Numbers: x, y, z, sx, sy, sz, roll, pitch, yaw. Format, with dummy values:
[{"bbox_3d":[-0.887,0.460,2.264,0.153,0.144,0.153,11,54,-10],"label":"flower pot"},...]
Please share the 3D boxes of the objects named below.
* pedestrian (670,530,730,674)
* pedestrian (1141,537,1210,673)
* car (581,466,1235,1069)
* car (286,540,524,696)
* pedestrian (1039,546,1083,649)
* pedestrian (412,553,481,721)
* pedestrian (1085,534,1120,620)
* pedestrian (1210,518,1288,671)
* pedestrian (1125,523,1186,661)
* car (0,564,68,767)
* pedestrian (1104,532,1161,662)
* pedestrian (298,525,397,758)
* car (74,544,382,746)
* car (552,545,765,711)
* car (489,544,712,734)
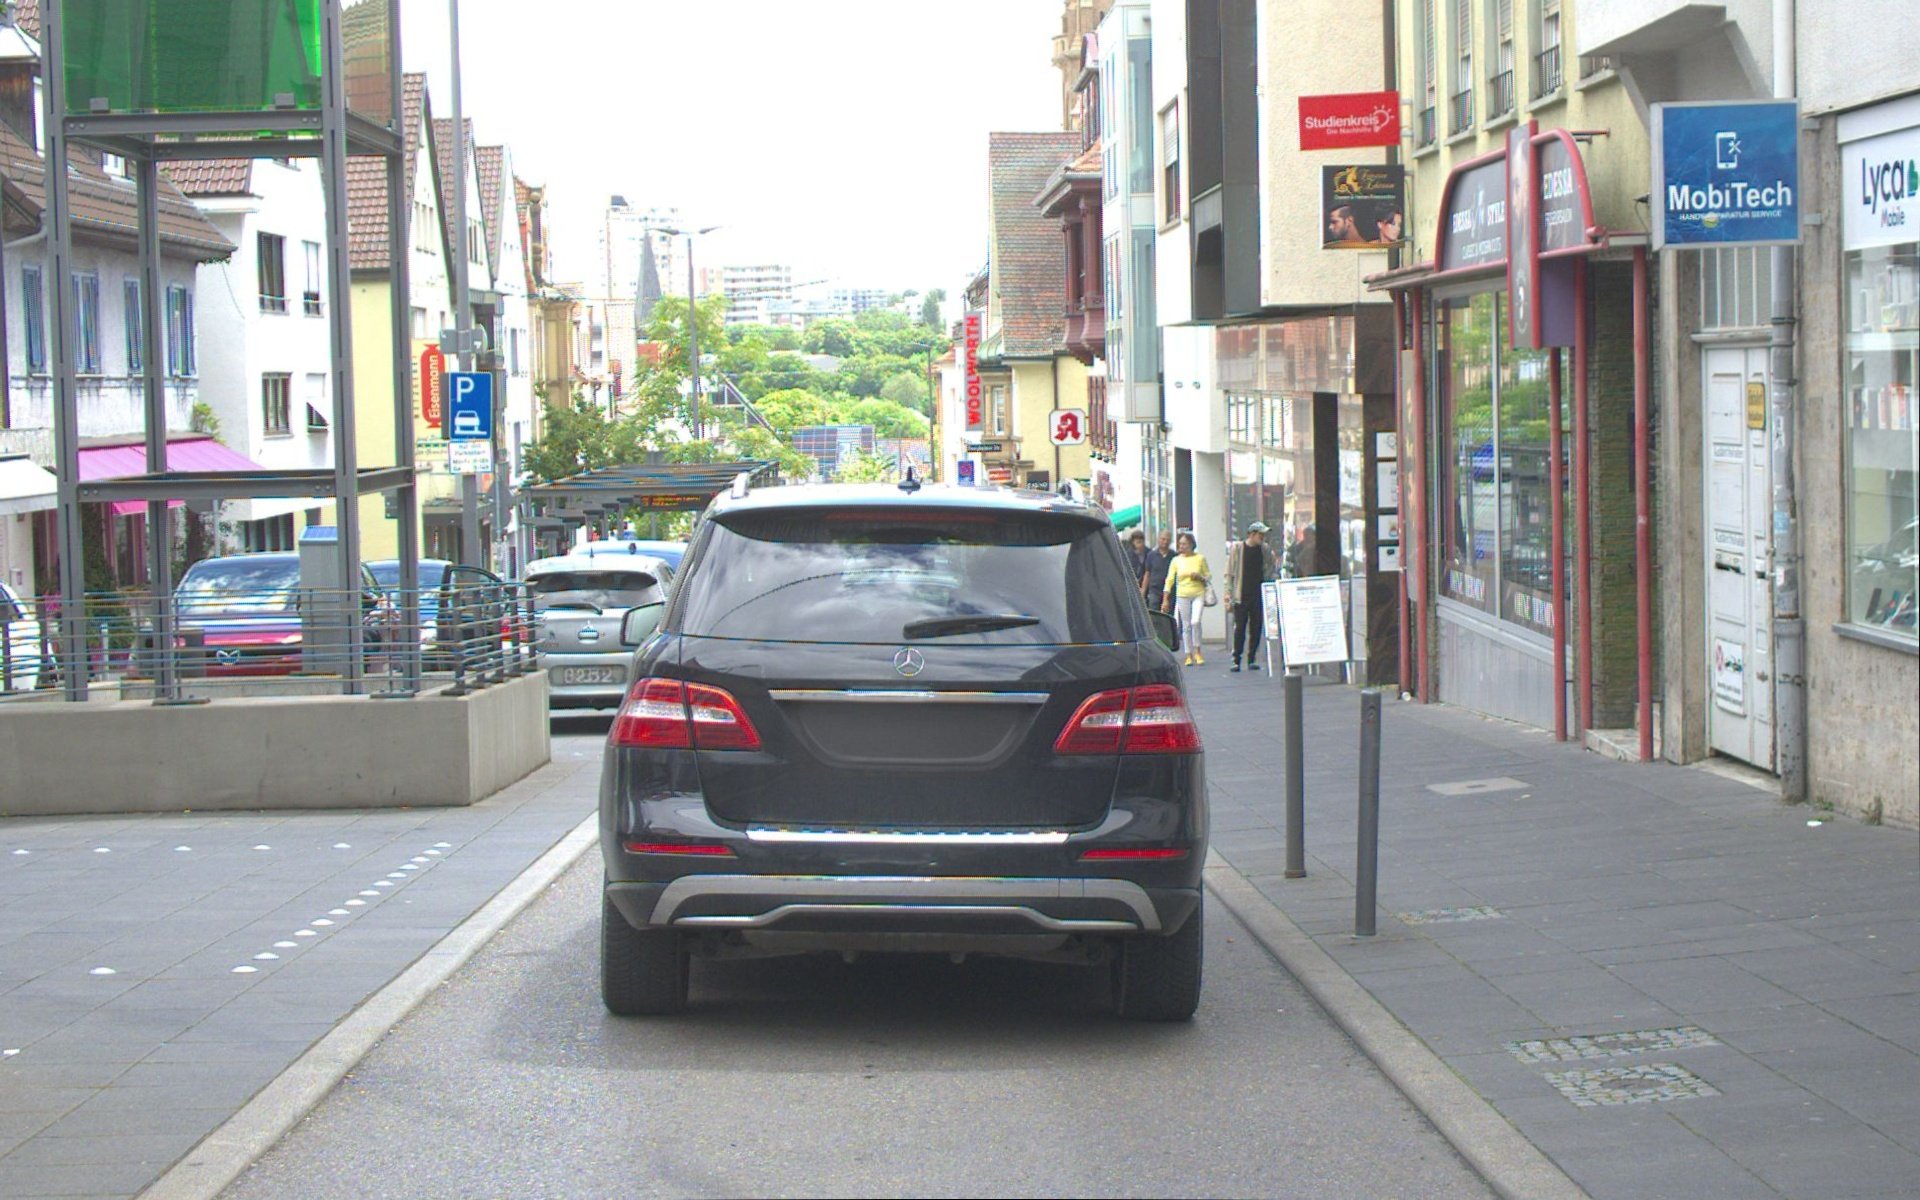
[{"bbox_3d":[-2.993,0.017,39.643,0.664,1.633,0.946,0,0,-3],"label":"pedestrian"},{"bbox_3d":[2.654,0.060,42.349,0.711,1.625,0.835,-3,1,-1],"label":"pedestrian"},{"bbox_3d":[-0.248,0.441,12.066,1.900,1.741,4.001,-1,1,-3],"label":"car"},{"bbox_3d":[-5.716,0.145,35.816,1.739,1.470,3.884,1,1,1],"label":"car"},{"bbox_3d":[1.670,-0.048,56.646,0.621,1.683,0.566,1,0,-7],"label":"pedestrian"},{"bbox_3d":[-4.448,0.315,29.803,0.466,1.427,0.492,-3,1,-1],"label":"pedestrian"},{"bbox_3d":[2.786,-0.449,67.156,0.573,1.683,0.566,1,0,-7],"label":"pedestrian"},{"bbox_3d":[3.297,-0.067,39.248,0.662,1.683,0.543,-4,1,-7],"label":"pedestrian"},{"bbox_3d":[2.500,-0.109,44.049,0.711,1.747,0.785,-1,1,-1],"label":"pedestrian"},{"bbox_3d":[-8.262,0.502,26.696,1.679,1.566,4.123,1,1,-1],"label":"car"},{"bbox_3d":[2.350,-0.050,46.806,0.711,1.747,0.787,-1,1,-1],"label":"pedestrian"},{"bbox_3d":[-4.474,0.288,25.156,0.533,1.666,0.901,0,1,1],"label":"pedestrian"},{"bbox_3d":[-5.985,0.325,28.559,1.739,1.537,4.193,1,1,-1],"label":"car"},{"bbox_3d":[-3.118,0.255,36.327,1.956,1.634,4.315,1,1,-1],"label":"car"},{"bbox_3d":[-3.060,0.301,29.833,1.620,1.527,3.670,1,1,-1],"label":"car"}]
